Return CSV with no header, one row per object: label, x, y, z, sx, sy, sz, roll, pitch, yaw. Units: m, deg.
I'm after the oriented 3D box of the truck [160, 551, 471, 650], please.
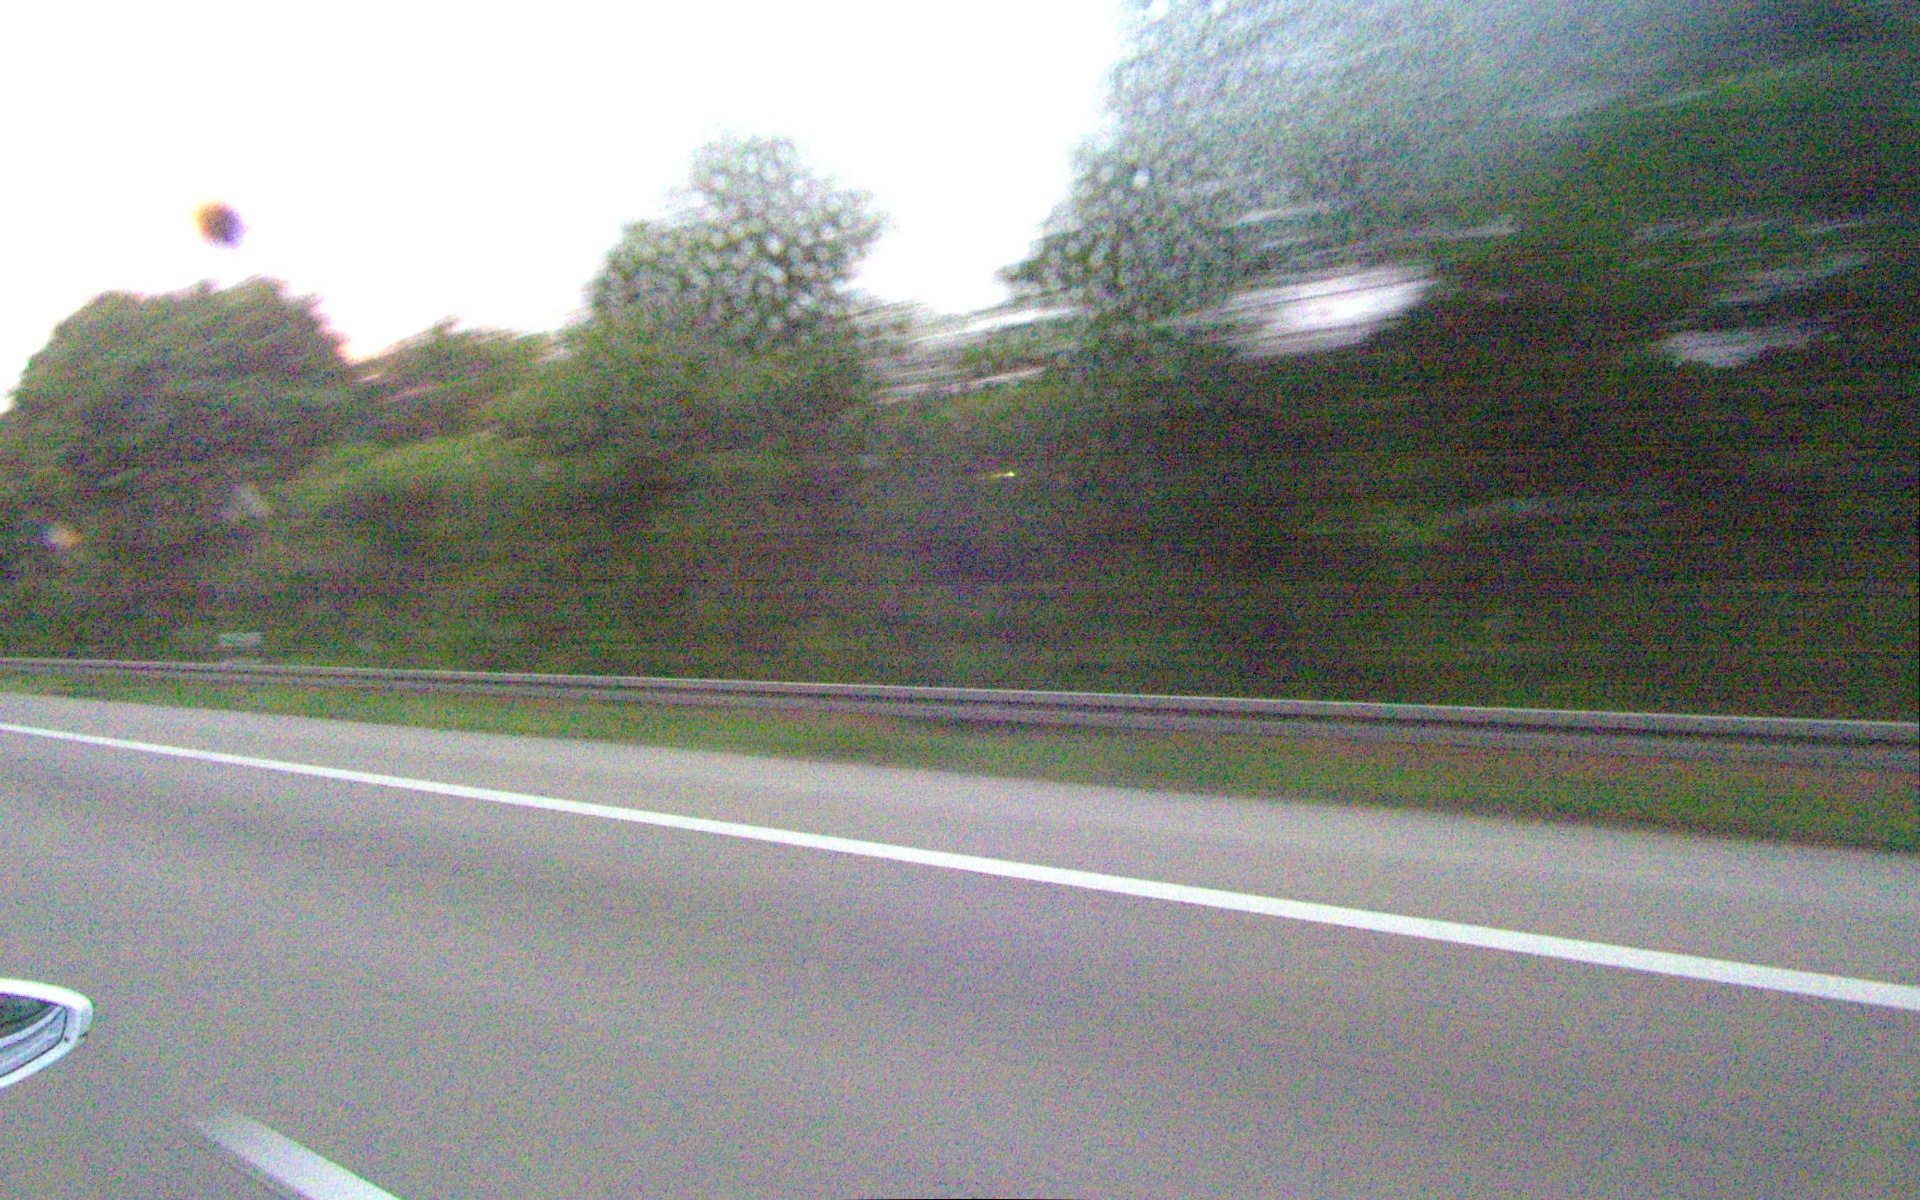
truck,-32.271,0.209,49.480,19.221,4.285,3.771,-1,0,27
